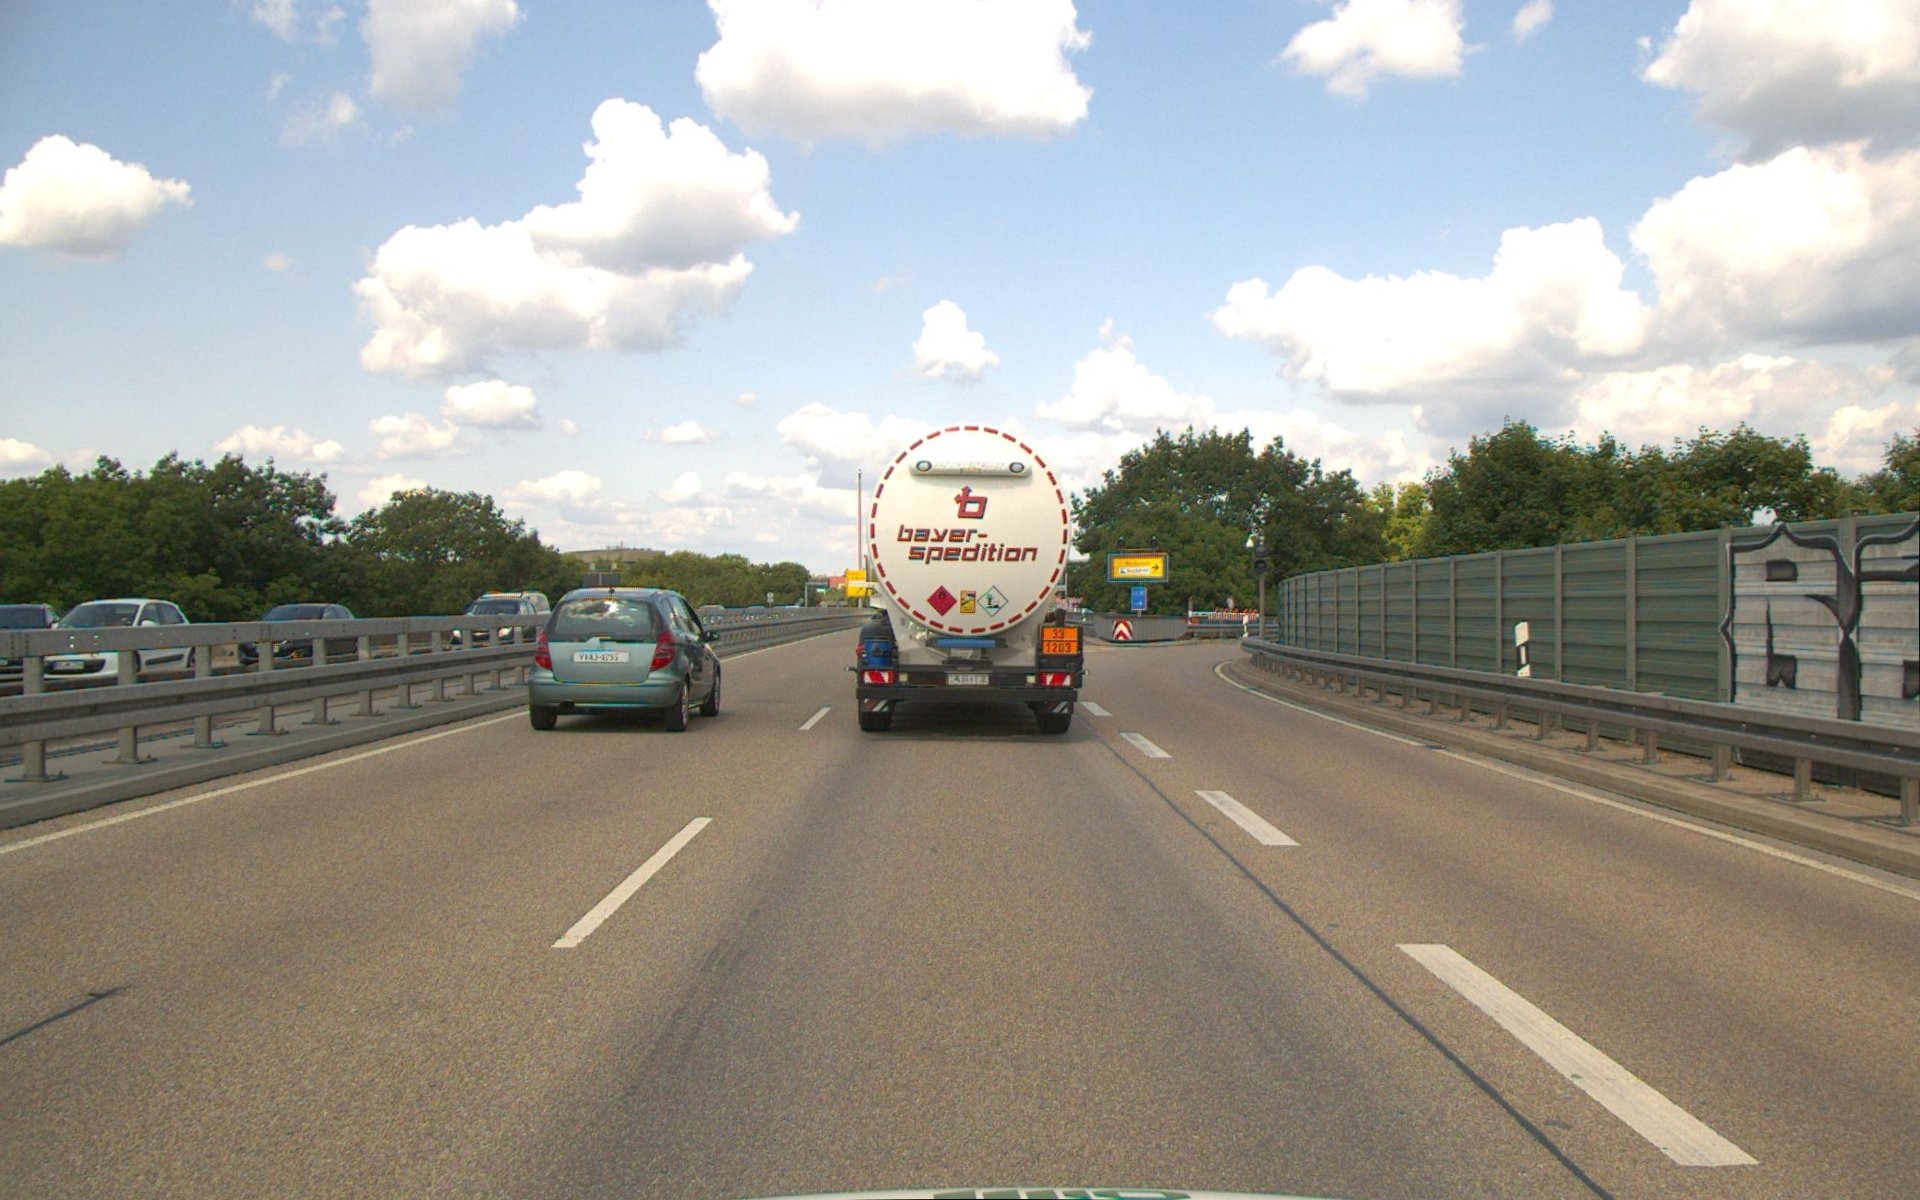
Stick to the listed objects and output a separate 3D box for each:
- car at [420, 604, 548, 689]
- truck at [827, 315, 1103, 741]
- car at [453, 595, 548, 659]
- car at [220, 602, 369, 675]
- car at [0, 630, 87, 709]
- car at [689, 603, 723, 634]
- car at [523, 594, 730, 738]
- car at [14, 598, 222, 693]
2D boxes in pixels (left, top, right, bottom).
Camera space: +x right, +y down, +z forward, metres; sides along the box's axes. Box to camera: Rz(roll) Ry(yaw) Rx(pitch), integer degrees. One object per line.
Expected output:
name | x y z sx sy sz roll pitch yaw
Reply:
car | -11.410 1.079 39.936 1.953 1.889 4.237 1 0 -2
truck | -0.020 -0.734 21.514 2.836 4.445 8.027 1 -1 -1
car | -15.373 0.860 55.555 1.921 1.959 5.189 2 0 -3
car | -15.641 0.878 39.093 1.885 1.601 4.243 -1 0 -2
car | -20.929 1.491 36.609 1.892 1.601 4.266 0 0 -15
car | -15.401 1.081 100.484 1.550 1.741 4.409 1 1 -2
car | -3.877 0.713 19.844 1.712 1.558 3.999 0 0 -1
car | -15.408 0.803 30.513 1.885 1.601 3.885 1 0 -2
